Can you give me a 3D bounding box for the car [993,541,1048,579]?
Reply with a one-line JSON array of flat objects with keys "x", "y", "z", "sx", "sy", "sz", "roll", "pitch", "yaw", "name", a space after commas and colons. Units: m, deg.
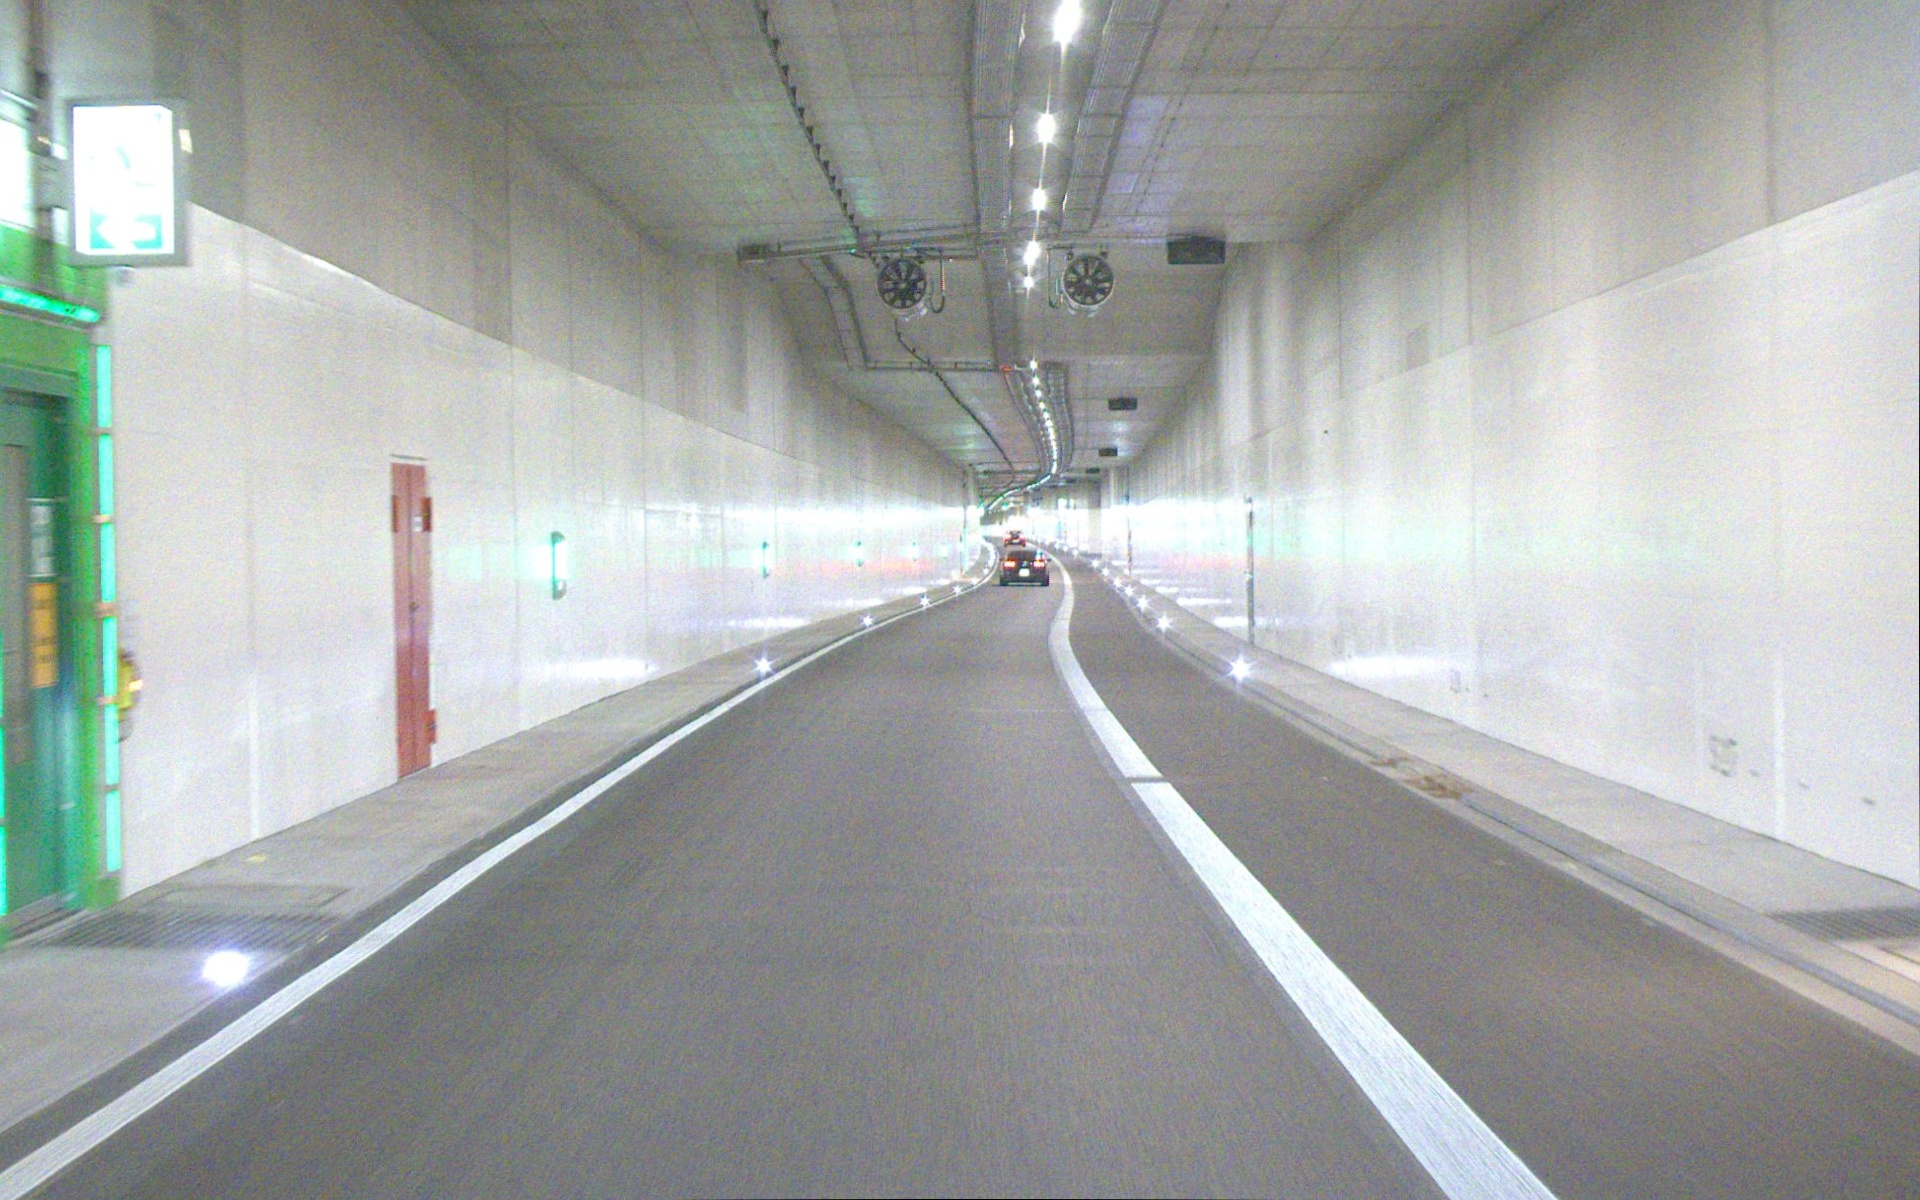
[{"x": 2.301, "y": -1.535, "z": 131.873, "sx": 1.993, "sy": 1.415, "sz": 4.000, "roll": 1, "pitch": 1, "yaw": 0, "name": "car"}]
